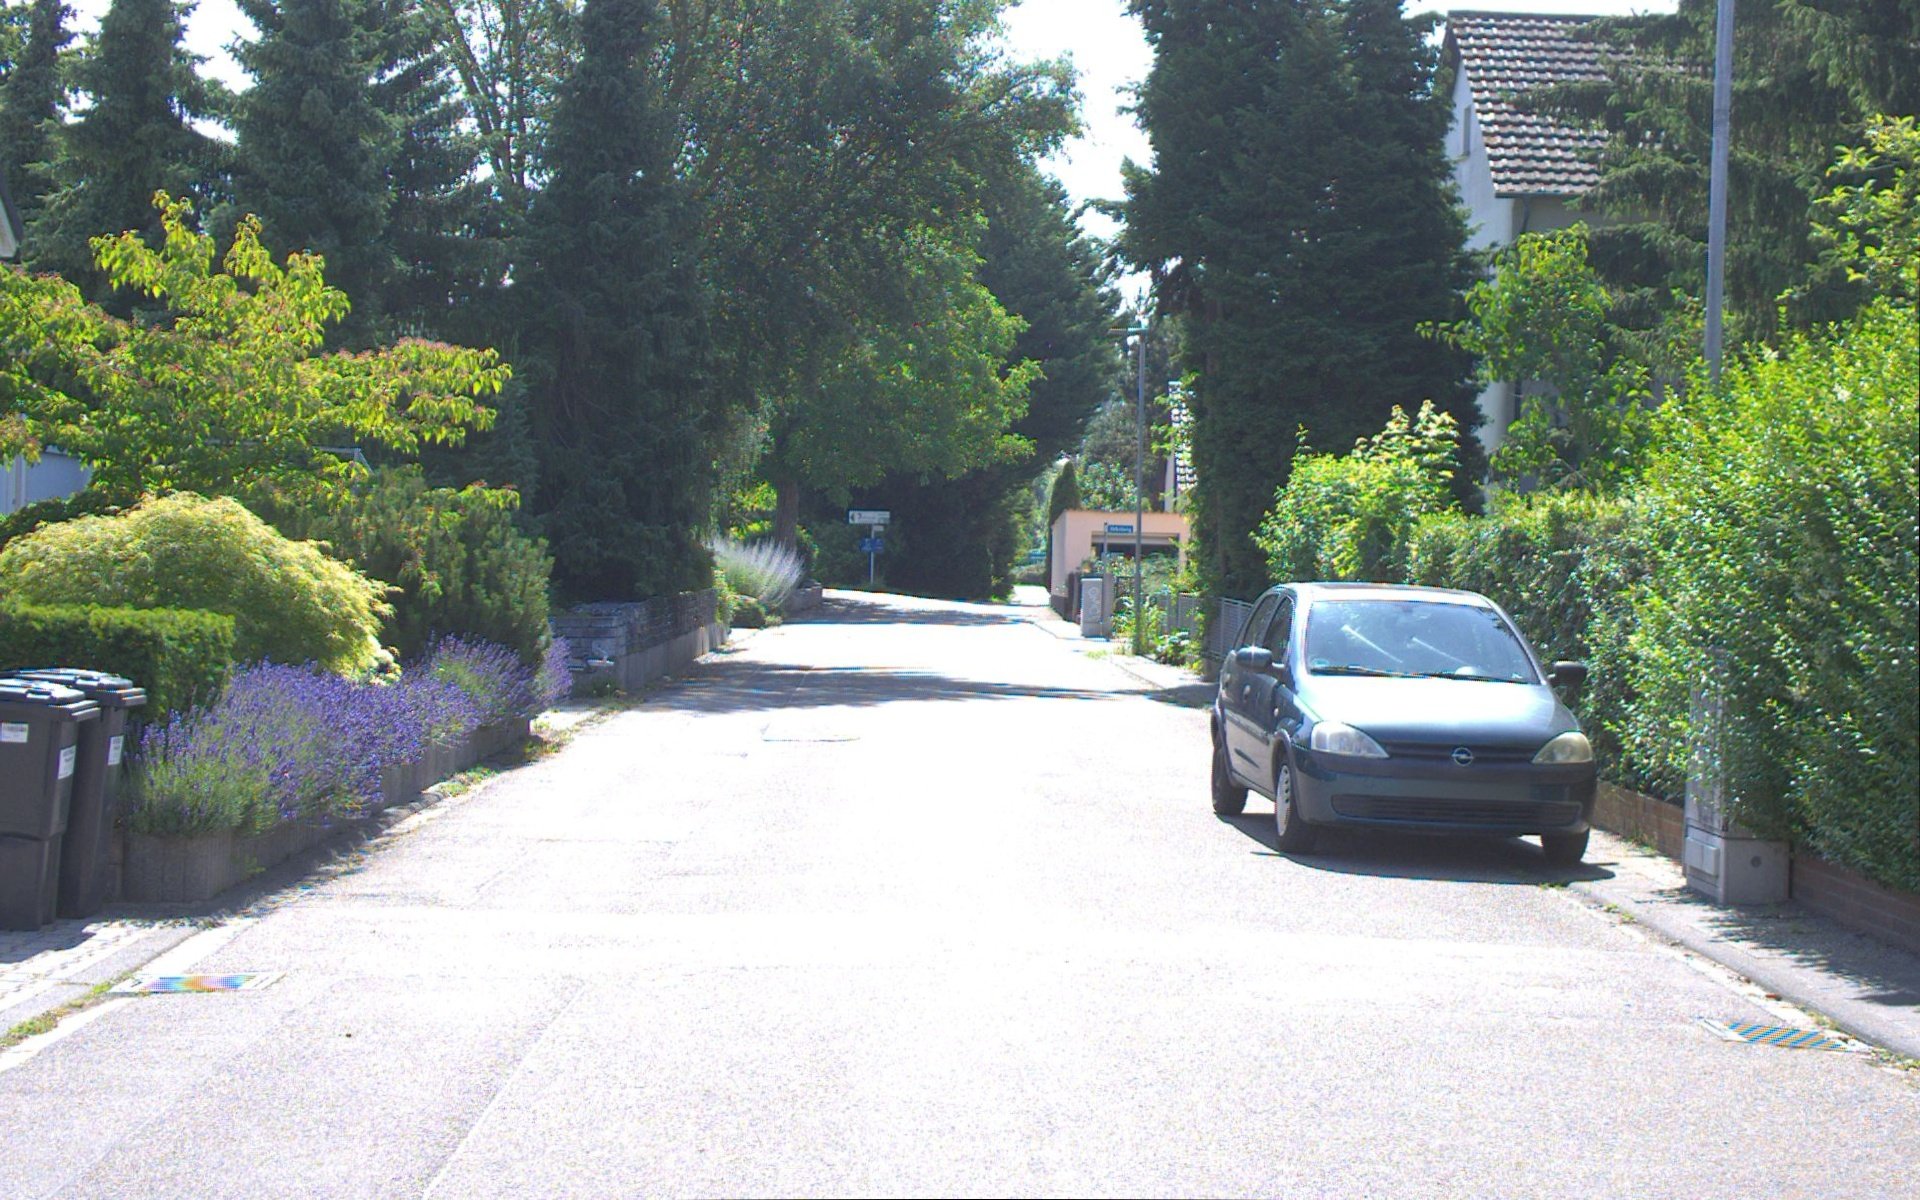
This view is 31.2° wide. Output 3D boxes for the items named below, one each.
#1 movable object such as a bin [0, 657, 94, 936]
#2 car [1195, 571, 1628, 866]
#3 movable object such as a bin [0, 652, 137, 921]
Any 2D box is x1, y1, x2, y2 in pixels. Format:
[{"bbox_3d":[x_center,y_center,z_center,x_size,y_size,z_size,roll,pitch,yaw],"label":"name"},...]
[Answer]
[{"bbox_3d":[-3.605,0.738,13.082,0.494,1.021,0.447,1,1,-1],"label":"movable object such as a bin"},{"bbox_3d":[2.408,0.581,19.291,1.702,1.395,4.000,3,1,-2],"label":"car"},{"bbox_3d":[-3.552,0.726,13.551,0.494,1.021,0.447,1,1,-1],"label":"movable object such as a bin"}]
